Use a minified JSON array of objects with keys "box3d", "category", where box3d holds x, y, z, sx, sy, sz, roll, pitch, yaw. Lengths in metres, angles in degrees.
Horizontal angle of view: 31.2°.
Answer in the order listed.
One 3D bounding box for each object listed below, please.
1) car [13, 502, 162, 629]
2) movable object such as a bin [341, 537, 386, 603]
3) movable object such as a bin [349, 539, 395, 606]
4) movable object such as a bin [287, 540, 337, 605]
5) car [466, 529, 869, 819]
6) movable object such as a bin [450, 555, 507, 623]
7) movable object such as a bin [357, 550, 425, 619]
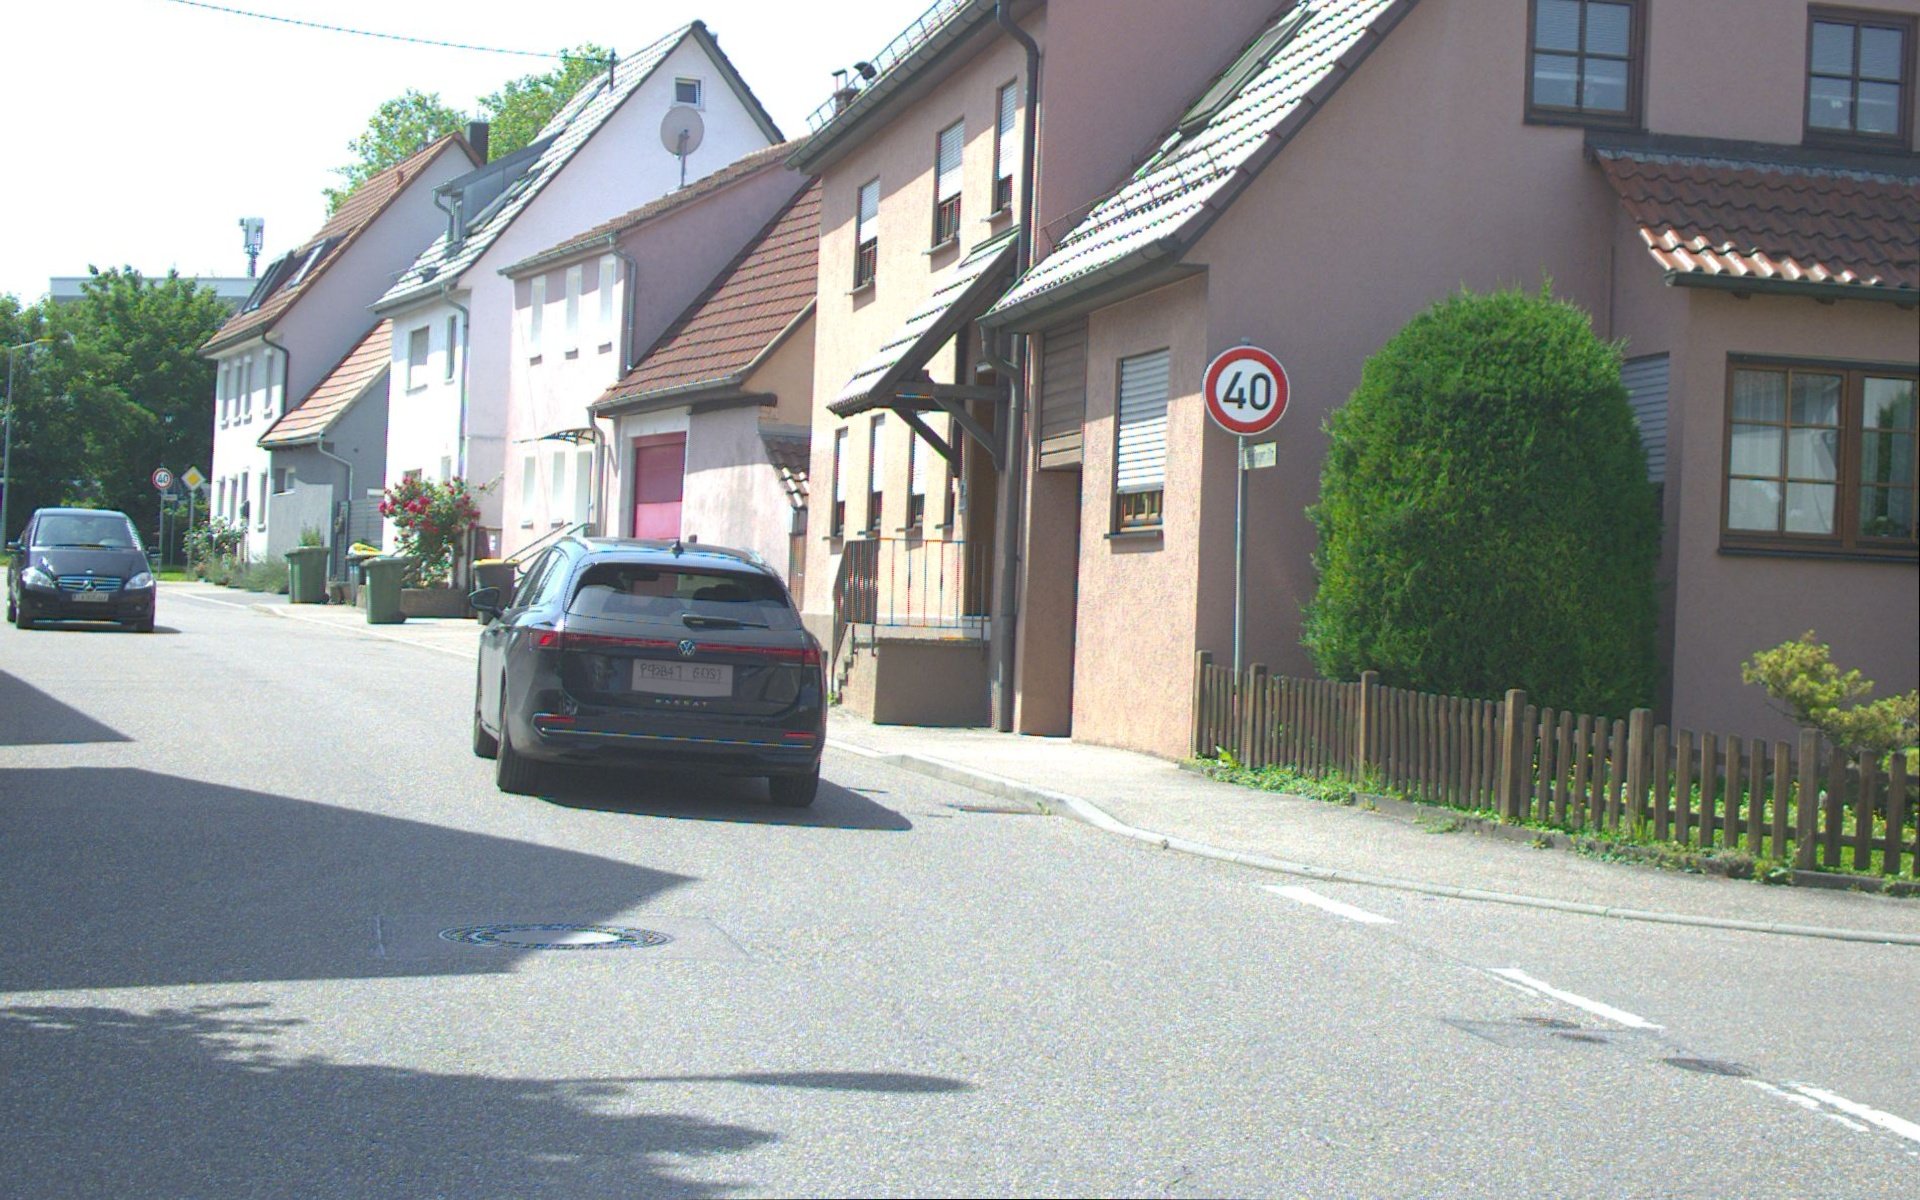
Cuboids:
[{"box3d":[-11.704,-0.494,46.047,1.799,1.550,4.072,2,1,-15],"category":"car"},{"box3d":[-11.141,-0.561,64.211,0.664,1.190,0.660,3,0,-20],"category":"movable object such as a bin"},{"box3d":[-10.874,-0.516,63.572,0.664,1.190,0.588,3,0,-20],"category":"movable object such as a bin"},{"box3d":[-12.121,-0.521,64.280,0.678,1.151,0.820,4,0,-24],"category":"movable object such as a bin"},{"box3d":[-1.863,0.351,20.413,1.841,1.415,4.684,3,1,-11],"category":"car"},{"box3d":[-7.679,-0.187,54.809,0.678,1.046,0.835,-2,2,-24],"category":"movable object such as a bin"},{"box3d":[-9.145,-0.254,55.274,0.875,1.071,0.873,-2,2,-24],"category":"movable object such as a bin"}]
